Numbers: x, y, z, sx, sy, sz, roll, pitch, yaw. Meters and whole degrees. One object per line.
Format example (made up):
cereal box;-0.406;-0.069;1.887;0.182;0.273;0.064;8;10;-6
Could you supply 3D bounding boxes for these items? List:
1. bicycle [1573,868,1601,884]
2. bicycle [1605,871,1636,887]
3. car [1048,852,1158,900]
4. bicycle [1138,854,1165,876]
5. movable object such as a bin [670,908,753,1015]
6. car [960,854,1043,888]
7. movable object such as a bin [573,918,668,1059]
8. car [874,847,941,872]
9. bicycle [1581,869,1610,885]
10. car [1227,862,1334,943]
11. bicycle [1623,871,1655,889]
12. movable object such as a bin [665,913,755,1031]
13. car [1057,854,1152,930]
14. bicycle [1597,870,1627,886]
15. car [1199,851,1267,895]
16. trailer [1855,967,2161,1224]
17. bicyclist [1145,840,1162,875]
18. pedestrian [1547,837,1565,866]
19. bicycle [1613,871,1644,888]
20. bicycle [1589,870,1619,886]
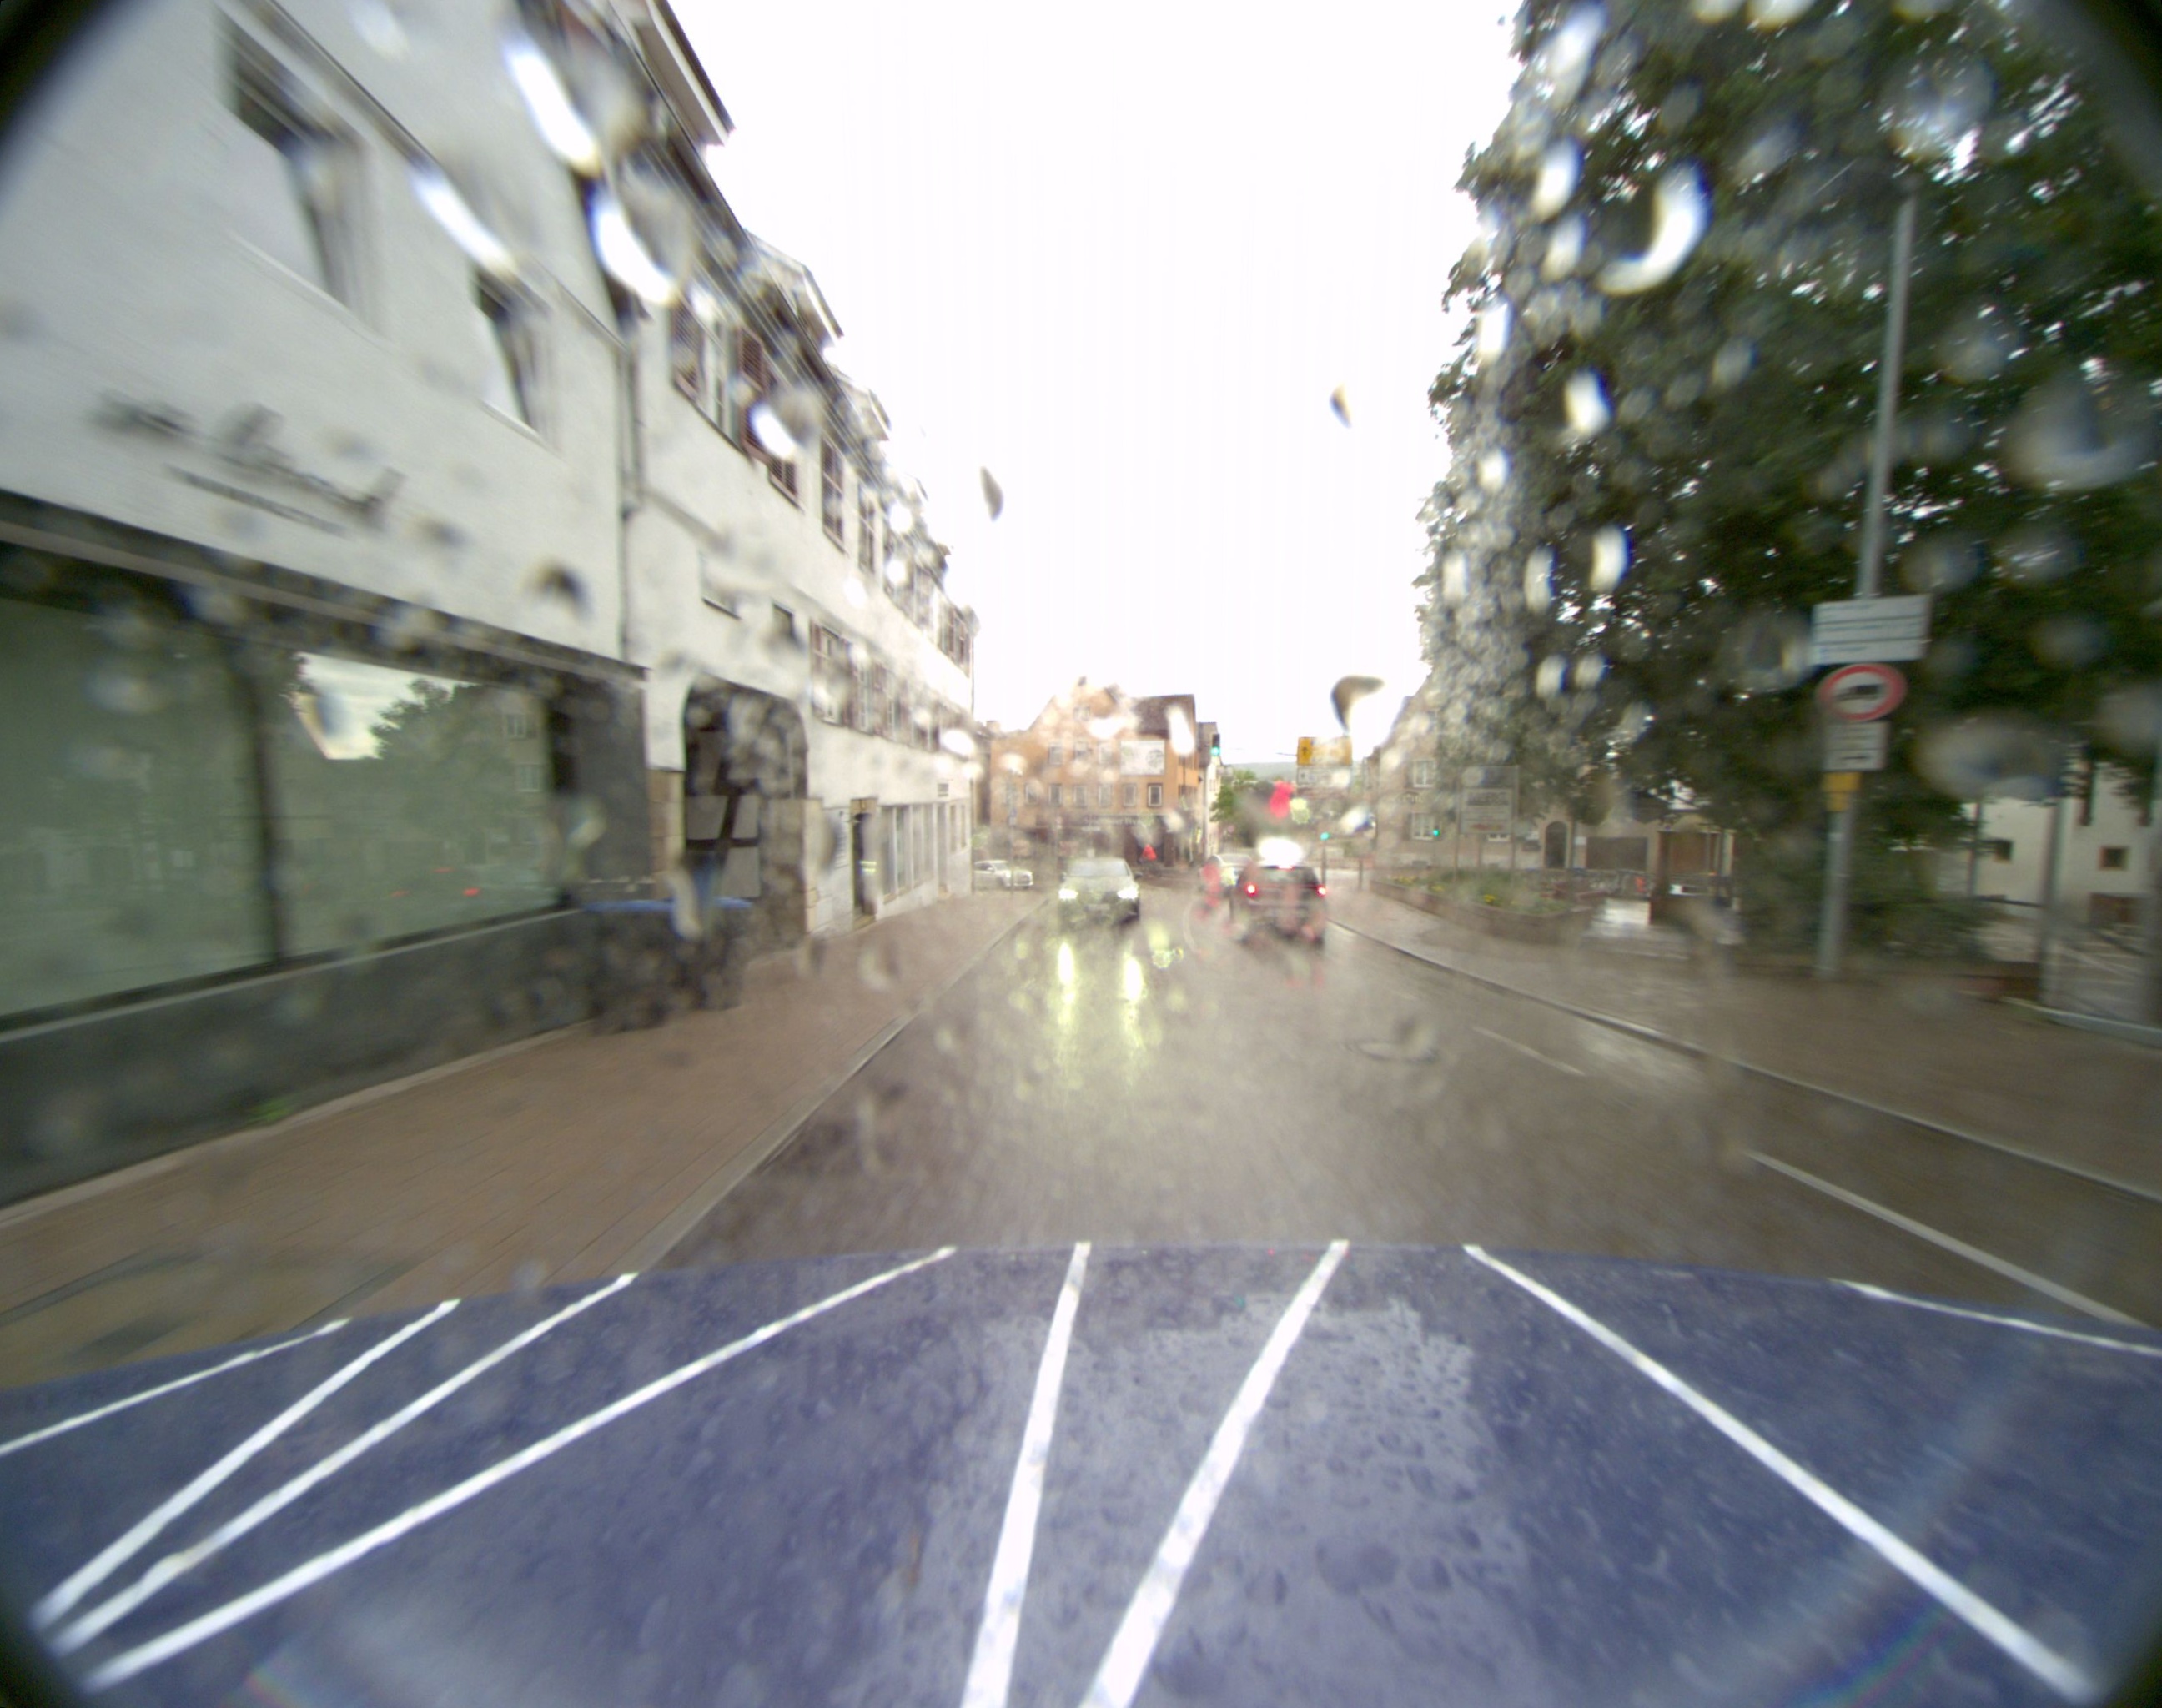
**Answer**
bicycle;20.351;0.888;30.551;0.853;0.602;0.407;0;1;2
bicycle;20.277;0.932;28.572;0.853;0.602;0.407;0;1;2
car;0.708;0.771;27.775;1.972;1.598;4.373;1;-1;-31
bicycle;3.928;0.604;42.563;0.666;1.174;2.132;-2;1;-20
movable object such as a bin;-3.819;1.097;7.872;0.596;1.022;0.476;2;1;1
car;-4.072;0.802;38.253;1.973;1.598;4.370;-1;1;-42
movable object such as a bin;-3.739;1.059;6.163;0.572;1.022;0.467;1;1;-41
car;-11.956;0.347;52.228;4.370;1.598;1.973;2;1;32
bicycle;20.345;0.893;30.052;0.853;0.602;0.407;0;1;2
car;4.098;0.925;16.096;1.611;1.463;3.587;1;0;6
bicycle;20.261;0.941;27.580;0.853;0.602;0.407;0;1;2
movable object such as a bin;-3.507;1.099;7.213;0.596;1.022;0.476;2;1;1
car;0.494;0.790;18.170;1.967;1.549;4.622;0;1;0
bicycle;20.303;0.927;29.056;0.853;0.602;0.407;0;1;2
car;6.026;0.690;30.707;1.967;1.598;4.383;1;1;2
trailer;5.868;1.211;2.580;1.998;0.900;4.477;-2;1;2
bicyclist;4.021;0.205;42.272;0.692;1.923;0.569;-2;1;-21
pedestrian;27.810;-0.134;44.464;0.705;1.701;0.677;1;1;16
bicycle;20.253;0.936;28.106;0.853;0.602;0.407;0;1;2
bicycle;20.324;0.925;29.535;0.853;0.602;0.407;0;1;2
